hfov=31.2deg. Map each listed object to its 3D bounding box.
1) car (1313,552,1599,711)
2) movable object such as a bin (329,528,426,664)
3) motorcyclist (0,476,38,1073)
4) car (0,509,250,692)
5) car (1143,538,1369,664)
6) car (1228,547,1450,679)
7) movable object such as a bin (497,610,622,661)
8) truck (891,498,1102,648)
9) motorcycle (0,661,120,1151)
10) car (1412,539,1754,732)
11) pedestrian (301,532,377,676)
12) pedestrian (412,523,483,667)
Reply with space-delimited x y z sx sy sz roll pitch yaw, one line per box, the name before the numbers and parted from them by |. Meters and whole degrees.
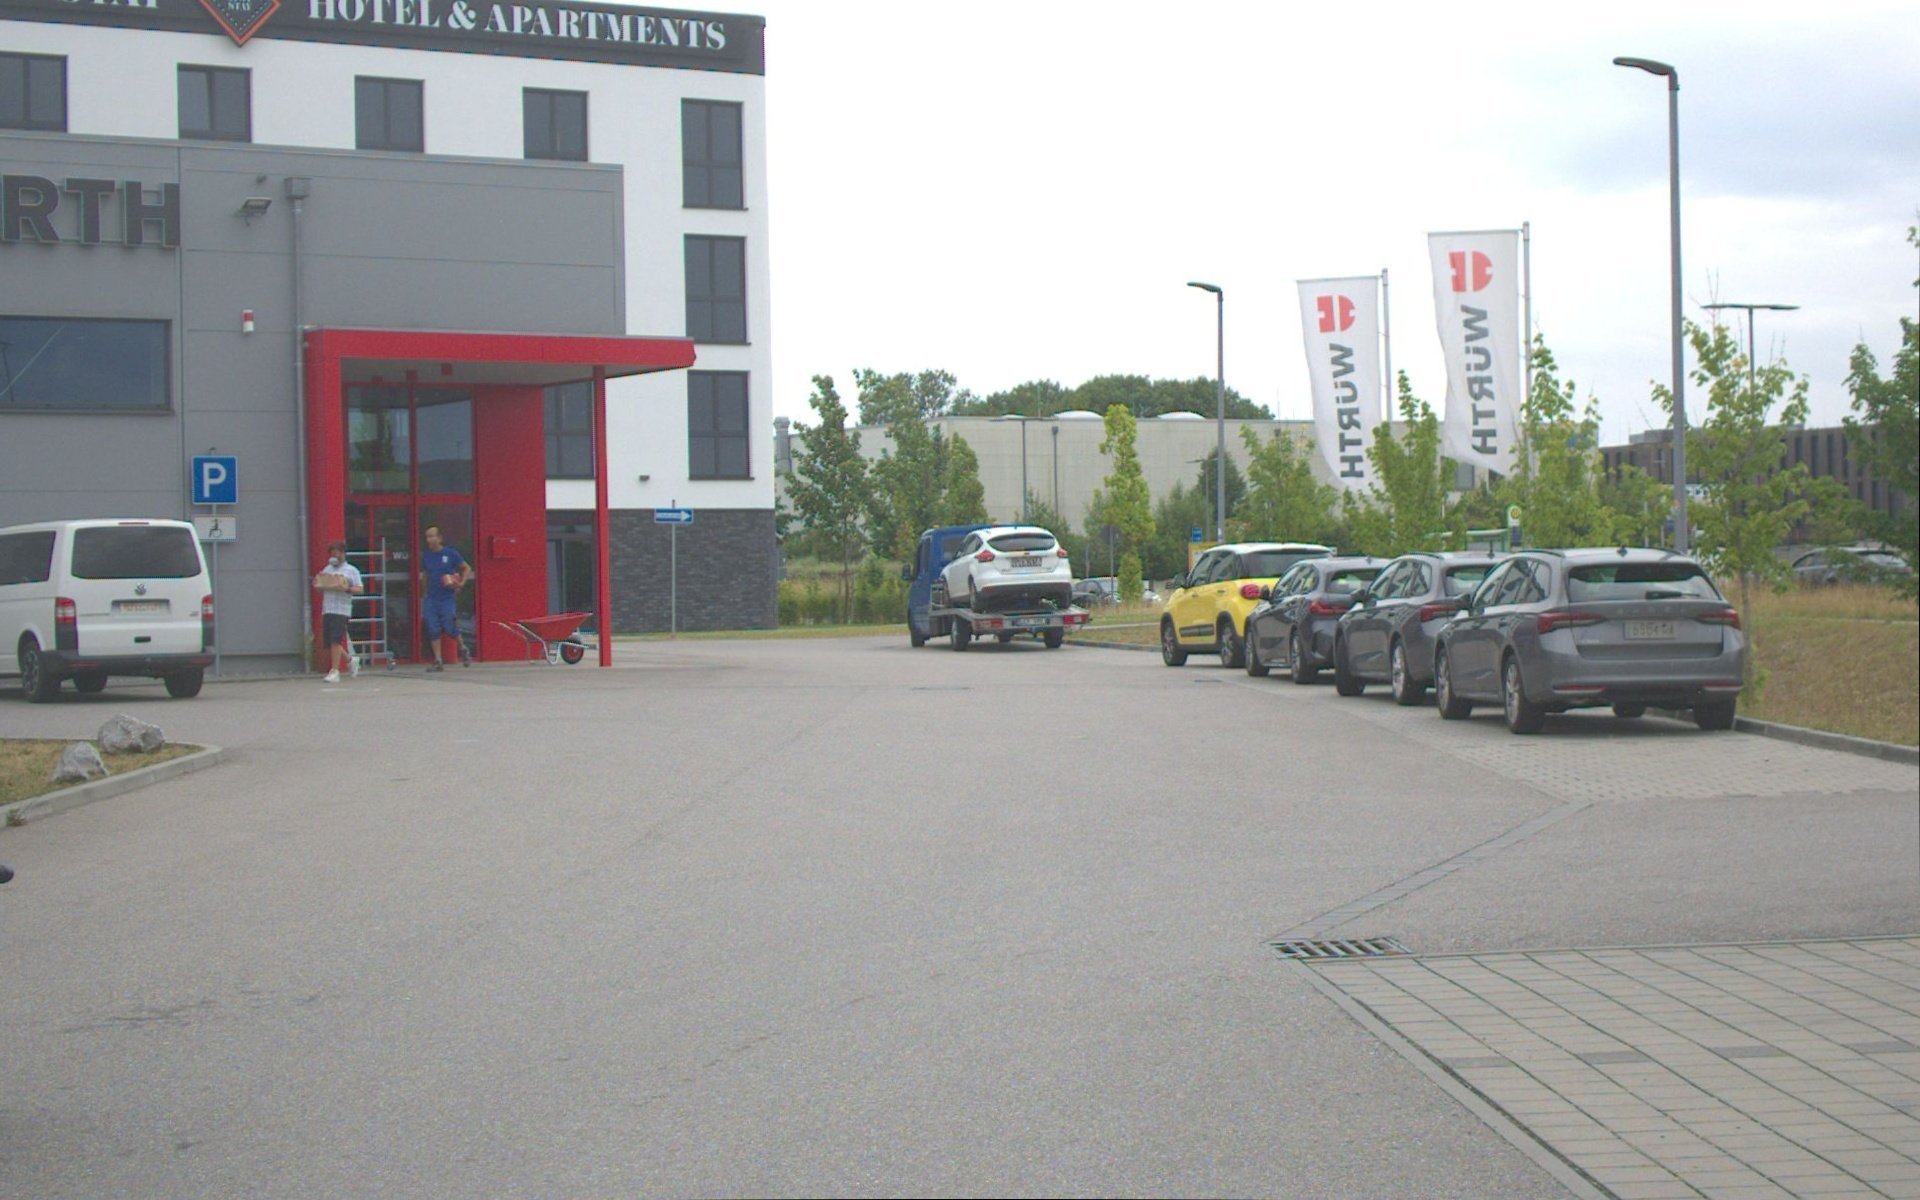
car | 4.843 0.265 34.167 1.751 1.464 4.477 0 1 -6
movable object such as a bin | -7.460 -0.051 44.030 0.910 1.666 0.743 -4 2 -32
motorcyclist | -2.859 0.443 8.360 0.828 1.484 0.941 -1 0 12
car | -9.738 0.016 38.353 2.055 1.849 4.061 -4 1 -35
car | 3.984 0.022 46.969 1.856 1.644 4.001 0 0 -14
car | 4.406 0.122 40.528 1.751 1.464 4.108 0 1 -6
movable object such as a bin | -5.552 0.486 47.643 1.488 0.701 0.965 0 0 -26
truck | 0.559 -0.405 63.303 2.331 2.398 7.897 0 -2 -11
motorcycle | -2.854 0.781 8.361 0.793 1.204 1.920 -1 0 12
car | 5.052 0.248 28.465 1.751 1.464 4.477 0 1 -4
pedestrian | -7.639 0.040 42.301 0.624 1.745 0.905 -1 1 10
pedestrian | -6.492 -0.069 43.575 0.676 1.796 0.880 -1 1 4
